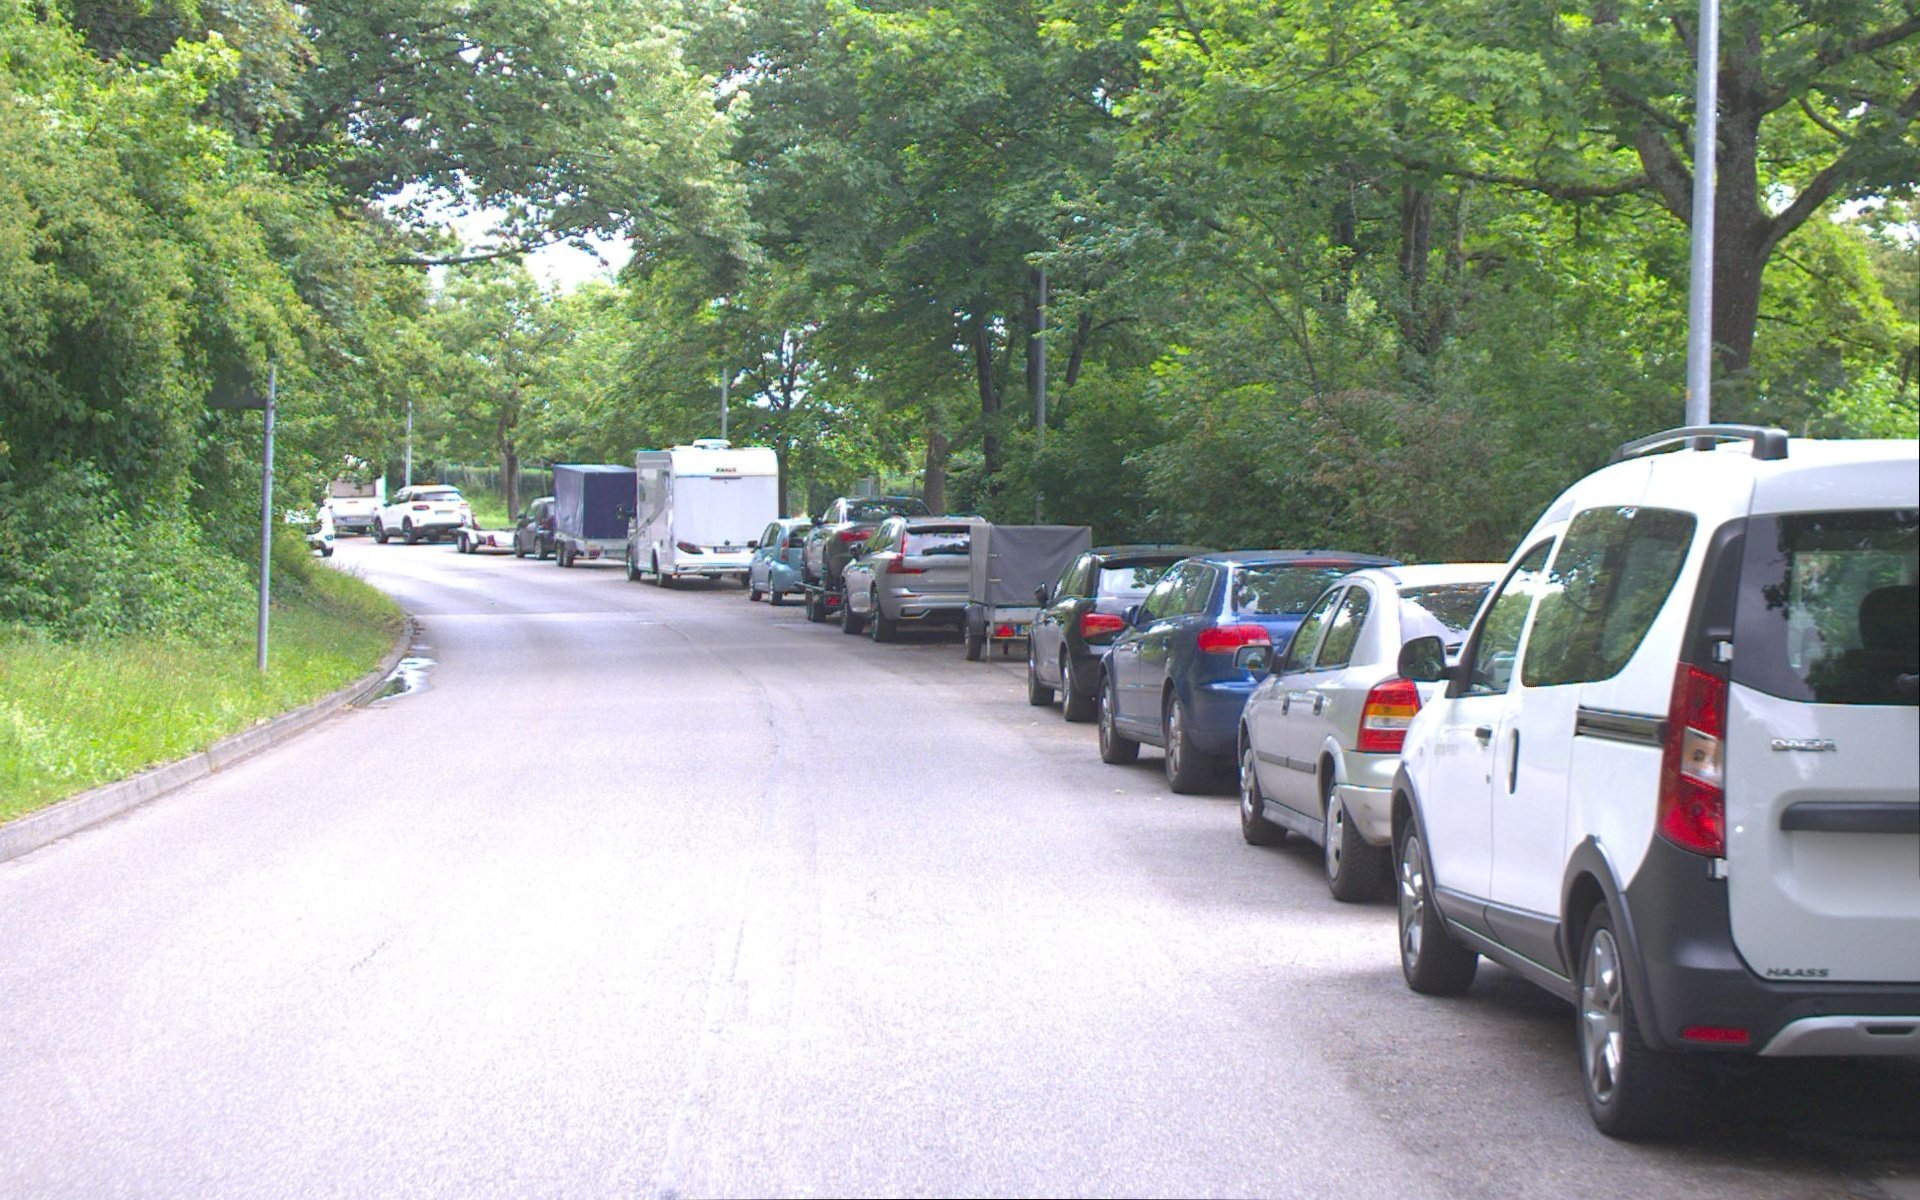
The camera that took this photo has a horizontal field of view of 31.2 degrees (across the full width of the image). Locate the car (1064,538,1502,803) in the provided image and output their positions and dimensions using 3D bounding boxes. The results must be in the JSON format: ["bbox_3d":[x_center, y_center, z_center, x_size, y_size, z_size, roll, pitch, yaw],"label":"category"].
[{"bbox_3d":[1.913,0.365,21.809,1.847,1.469,4.480,1,1,-7],"label":"car"}]

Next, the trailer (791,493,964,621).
[{"bbox_3d":[-1.319,-0.710,52.497,1.978,1.805,5.150,0,2,-9],"label":"trailer"}]

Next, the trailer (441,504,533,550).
[{"bbox_3d":[-12.562,-1.944,91.118,1.651,1.083,4.002,-2,3,-19],"label":"trailer"}]

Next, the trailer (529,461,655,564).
[{"bbox_3d":[-8.810,-2.111,82.120,1.993,2.390,4.001,0,2,-21],"label":"trailer"}]

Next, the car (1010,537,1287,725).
[{"bbox_3d":[1.529,0.213,29.267,1.720,1.448,3.918,1,1,-6],"label":"car"}]

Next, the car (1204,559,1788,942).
[{"bbox_3d":[2.307,0.582,15.940,1.812,1.432,4.243,2,1,-3],"label":"car"}]

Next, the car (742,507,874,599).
[{"bbox_3d":[-2.763,-0.873,61.767,1.799,1.556,3.837,0,2,-11],"label":"car"}]

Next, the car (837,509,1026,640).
[{"bbox_3d":[-0.441,-0.337,46.205,1.791,1.664,4.503,0,0,-11],"label":"car"}]

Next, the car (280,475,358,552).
[{"bbox_3d":[-17.198,-2.337,92.353,1.947,1.977,4.503,1,2,-10],"label":"car"}]

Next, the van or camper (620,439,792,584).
[{"bbox_3d":[-5.382,-1.861,71.863,2.481,2.866,6.892,0,2,-14],"label":"van or camper"}]

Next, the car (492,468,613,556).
[{"bbox_3d":[-10.401,-2.275,87.518,1.993,2.018,4.002,-3,4,-22],"label":"car"}]

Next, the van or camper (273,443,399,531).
[{"bbox_3d":[-19.573,-3.559,107.659,2.526,2.688,4.576,-2,3,-29],"label":"van or camper"}]

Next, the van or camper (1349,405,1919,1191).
[{"bbox_3d":[2.392,0.475,10.225,1.802,1.831,4.321,1,0,-2],"label":"van or camper"}]

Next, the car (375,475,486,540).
[{"bbox_3d":[-15.428,-2.710,99.979,2.034,1.797,4.084,-1,3,-27],"label":"car"}]

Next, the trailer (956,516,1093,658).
[{"bbox_3d":[0.731,-0.171,40.047,1.278,1.579,2.461,1,1,-6],"label":"trailer"}]
